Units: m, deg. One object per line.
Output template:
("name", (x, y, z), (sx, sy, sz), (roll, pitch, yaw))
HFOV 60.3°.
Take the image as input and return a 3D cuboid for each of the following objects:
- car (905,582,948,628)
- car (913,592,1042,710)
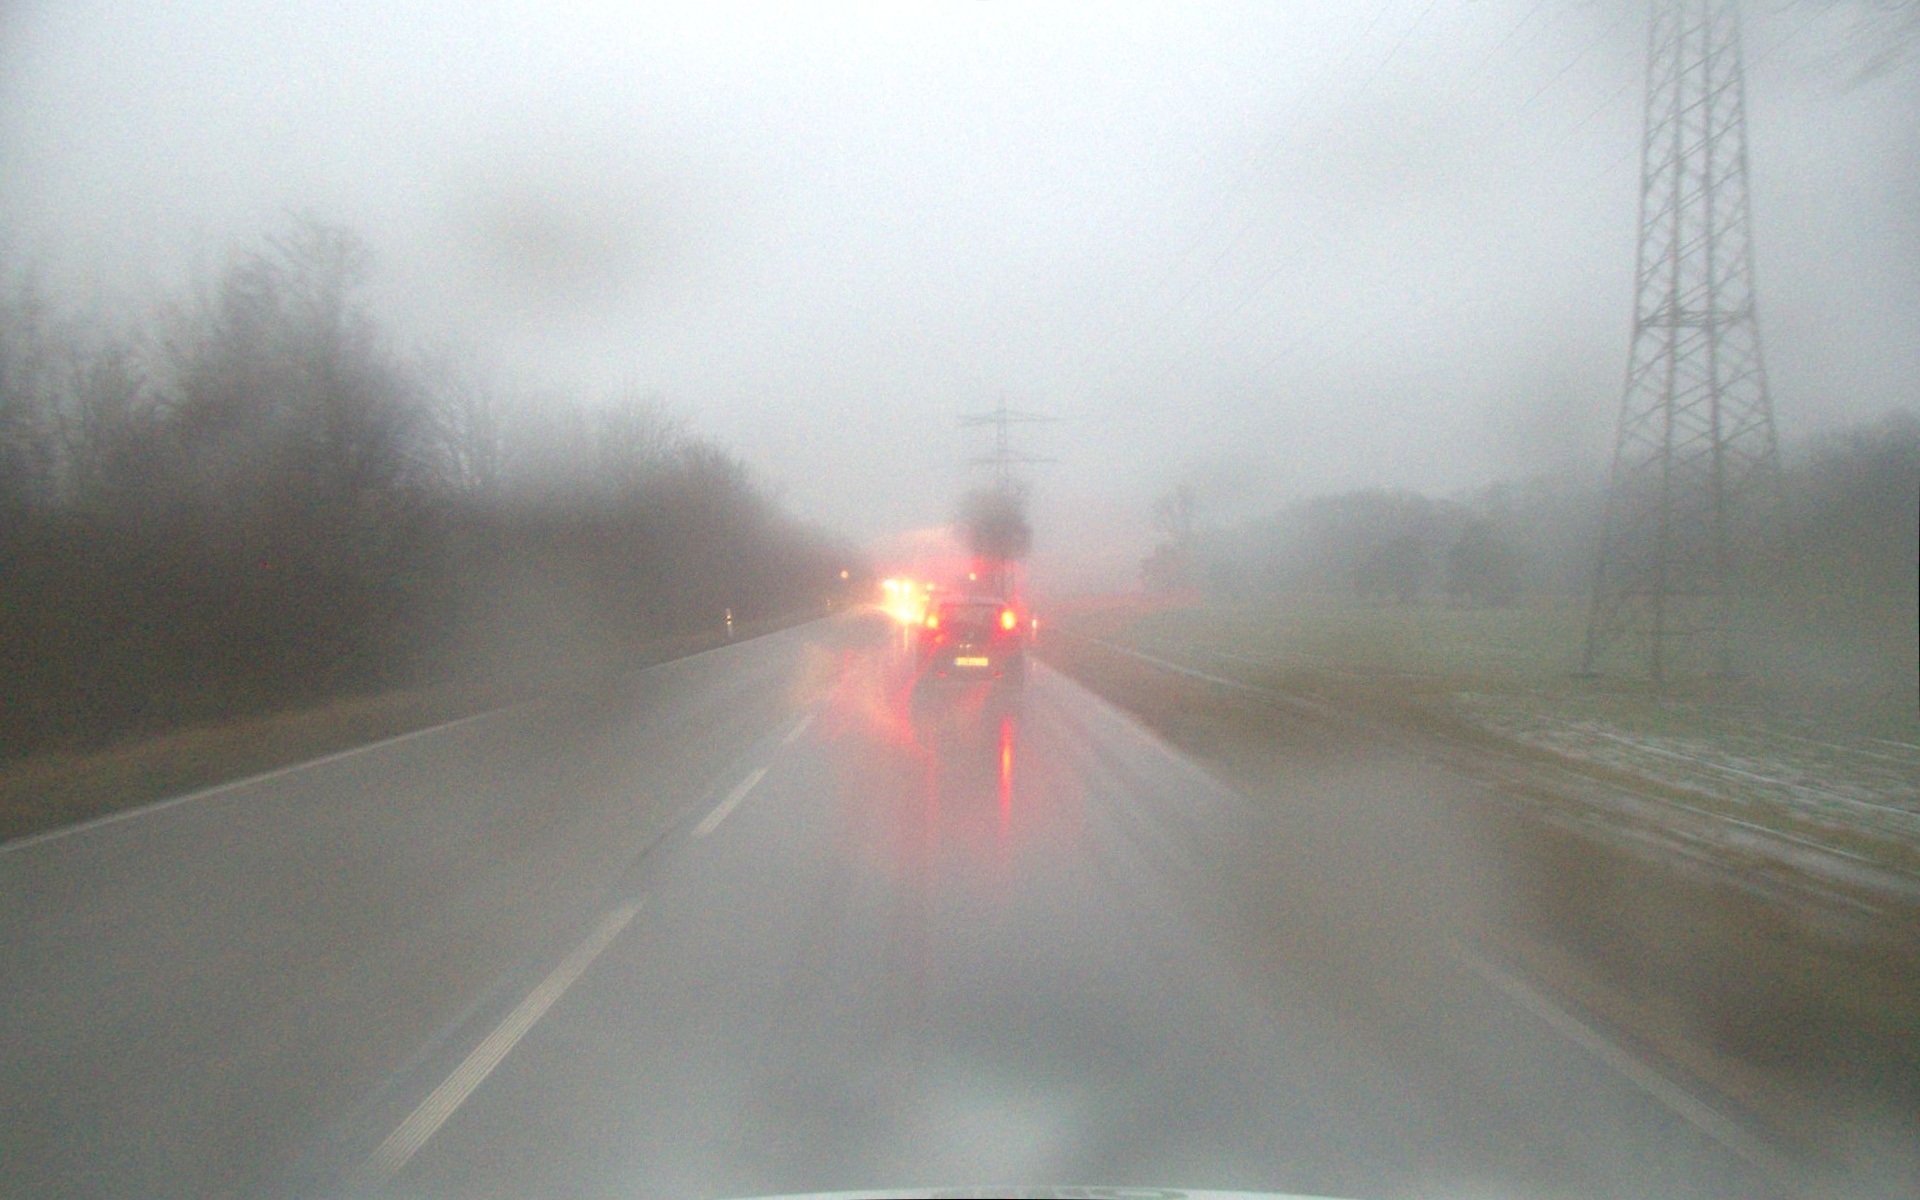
("car", (-1.565, 0.202, 79.135), (1.953, 2.048, 4.001), (1, 2, 0))
("car", (0.230, 0.762, 27.004), (1.953, 1.782, 3.999), (0, 0, -1))
